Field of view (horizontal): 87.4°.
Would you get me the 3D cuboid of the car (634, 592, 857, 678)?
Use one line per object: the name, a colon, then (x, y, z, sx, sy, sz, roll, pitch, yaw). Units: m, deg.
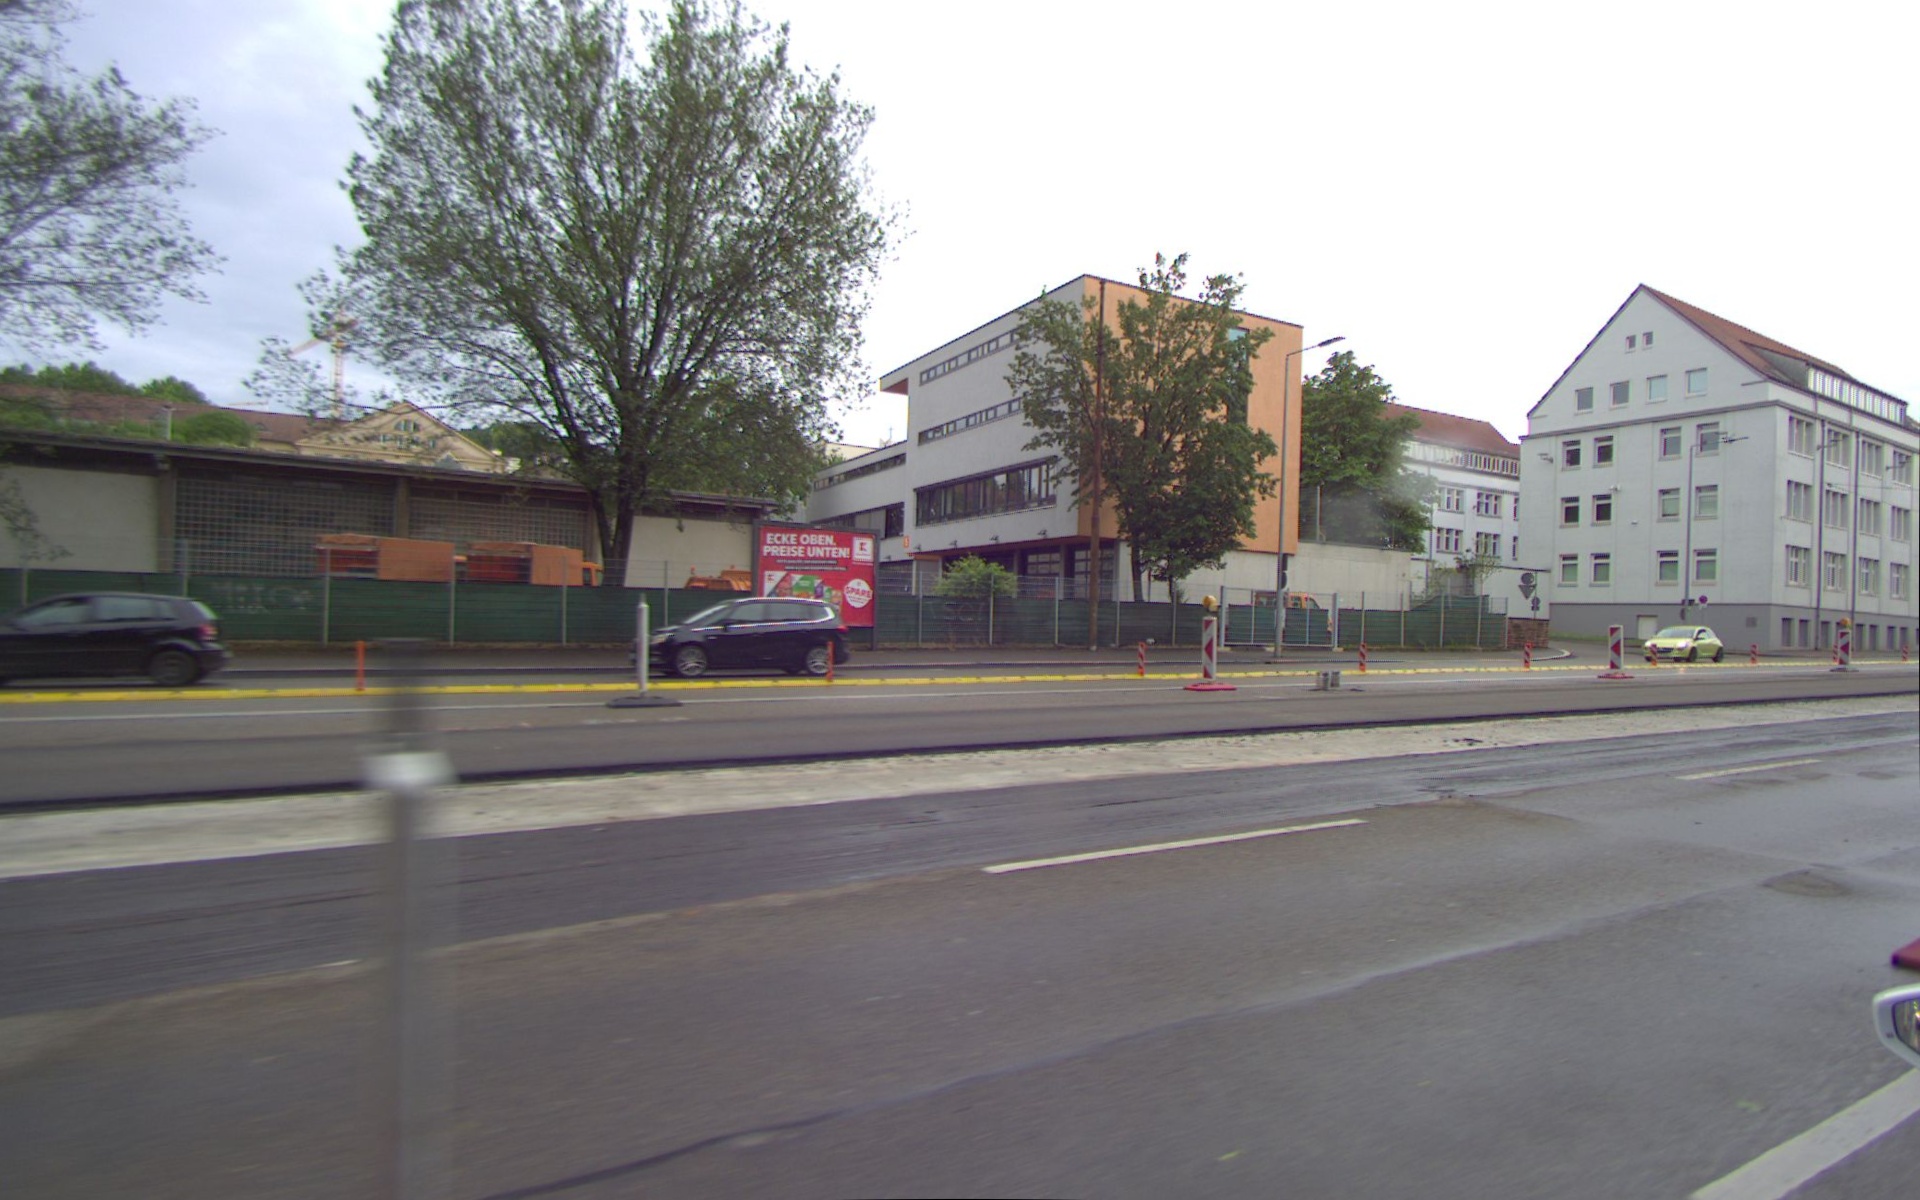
car: (-4.518, 0.762, 21.272, 4.278, 1.651, 1.851, 2, -3, -30)

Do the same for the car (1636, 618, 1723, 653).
car: (29.605, 1.467, 41.329, 3.761, 1.386, 1.546, 1, -2, -31)

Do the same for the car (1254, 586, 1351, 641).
car: (14.145, 0.570, 41.423, 3.954, 2.199, 1.602, 1, 0, -31)

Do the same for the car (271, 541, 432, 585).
car: (-17.765, -1.052, 29.571, 1.718, 1.076, 4.026, 1, -1, 13)

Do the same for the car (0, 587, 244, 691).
car: (-13.604, 0.618, 15.722, 3.688, 1.495, 1.851, 1, -3, -30)

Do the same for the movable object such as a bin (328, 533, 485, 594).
movable object such as a bin: (-15.835, -1.012, 28.988, 1.718, 1.548, 4.026, 1, -1, 13)

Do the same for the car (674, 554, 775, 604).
car: (-7.890, -0.675, 34.046, 1.959, 1.548, 4.026, 1, -1, 8)
